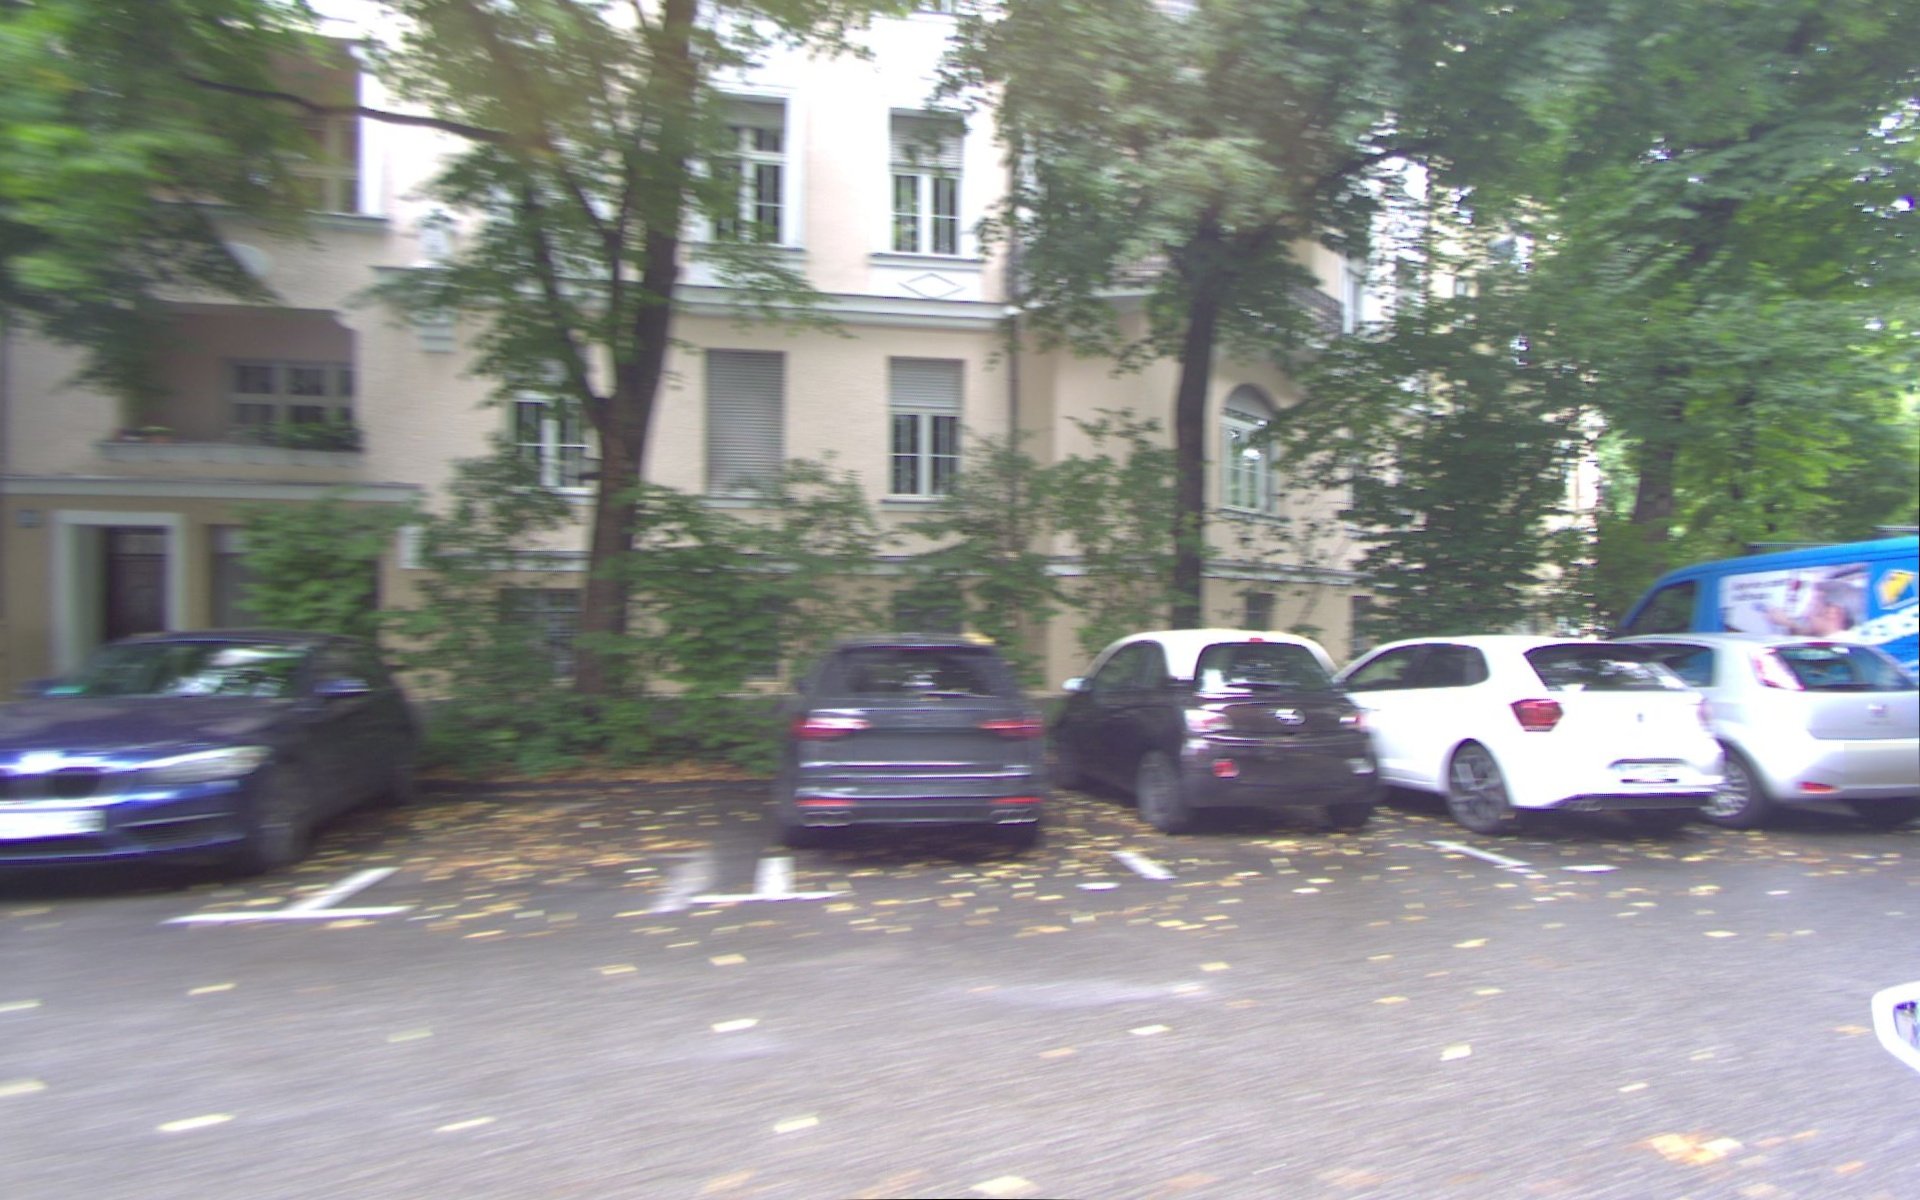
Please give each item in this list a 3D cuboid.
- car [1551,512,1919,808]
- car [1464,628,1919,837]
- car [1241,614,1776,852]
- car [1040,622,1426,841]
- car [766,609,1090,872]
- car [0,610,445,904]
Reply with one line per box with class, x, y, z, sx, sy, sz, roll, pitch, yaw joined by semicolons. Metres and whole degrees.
car;8.551;0.566;9.517;2.028;2.384;5.489;1;-3;-9
car;6.353;1.010;8.912;1.614;1.451;3.549;1;-2;-9
car;4.271;1.036;8.789;1.771;1.532;4.280;1;-5;-10
car;2.017;1.020;8.645;1.800;1.443;3.746;0;-5;-9
car;-0.423;0.895;7.737;1.829;1.444;4.159;0;-3;-7
car;-5.071;0.812;6.912;1.814;1.401;4.330;1;-2;-15
